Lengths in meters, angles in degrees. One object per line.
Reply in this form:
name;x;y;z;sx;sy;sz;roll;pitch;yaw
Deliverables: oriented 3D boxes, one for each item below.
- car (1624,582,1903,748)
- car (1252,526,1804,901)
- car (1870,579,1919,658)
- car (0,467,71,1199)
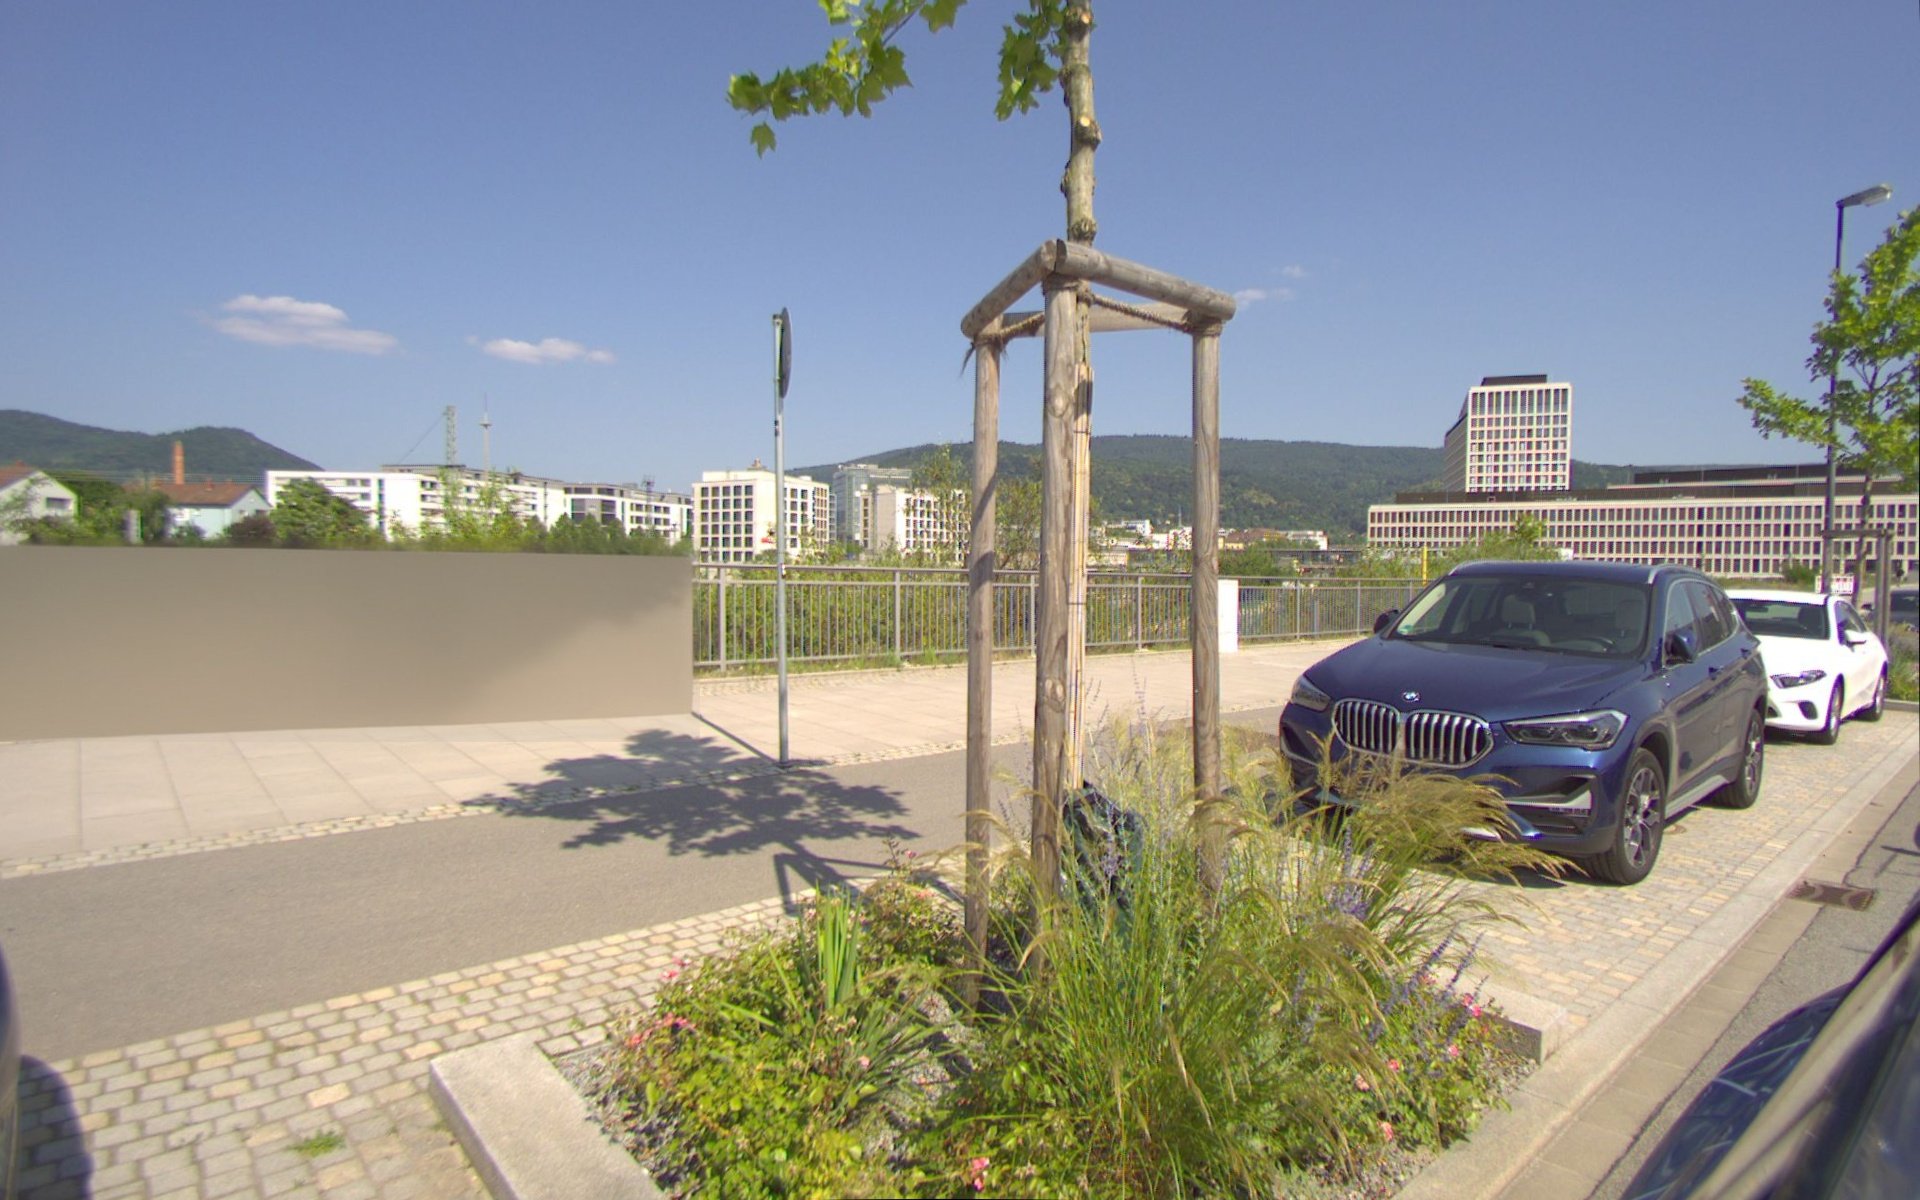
car;8.744;0.551;10.904;3.930;1.473;1.663;-1;0;-41
car;3.805;0.469;6.443;4.164;1.627;1.768;-1;0;-41
car;20.368;0.338;21.064;3.930;1.558;1.663;-1;0;-41
car;-2.977;0.559;0.386;3.930;1.444;1.664;-1;4;-41
